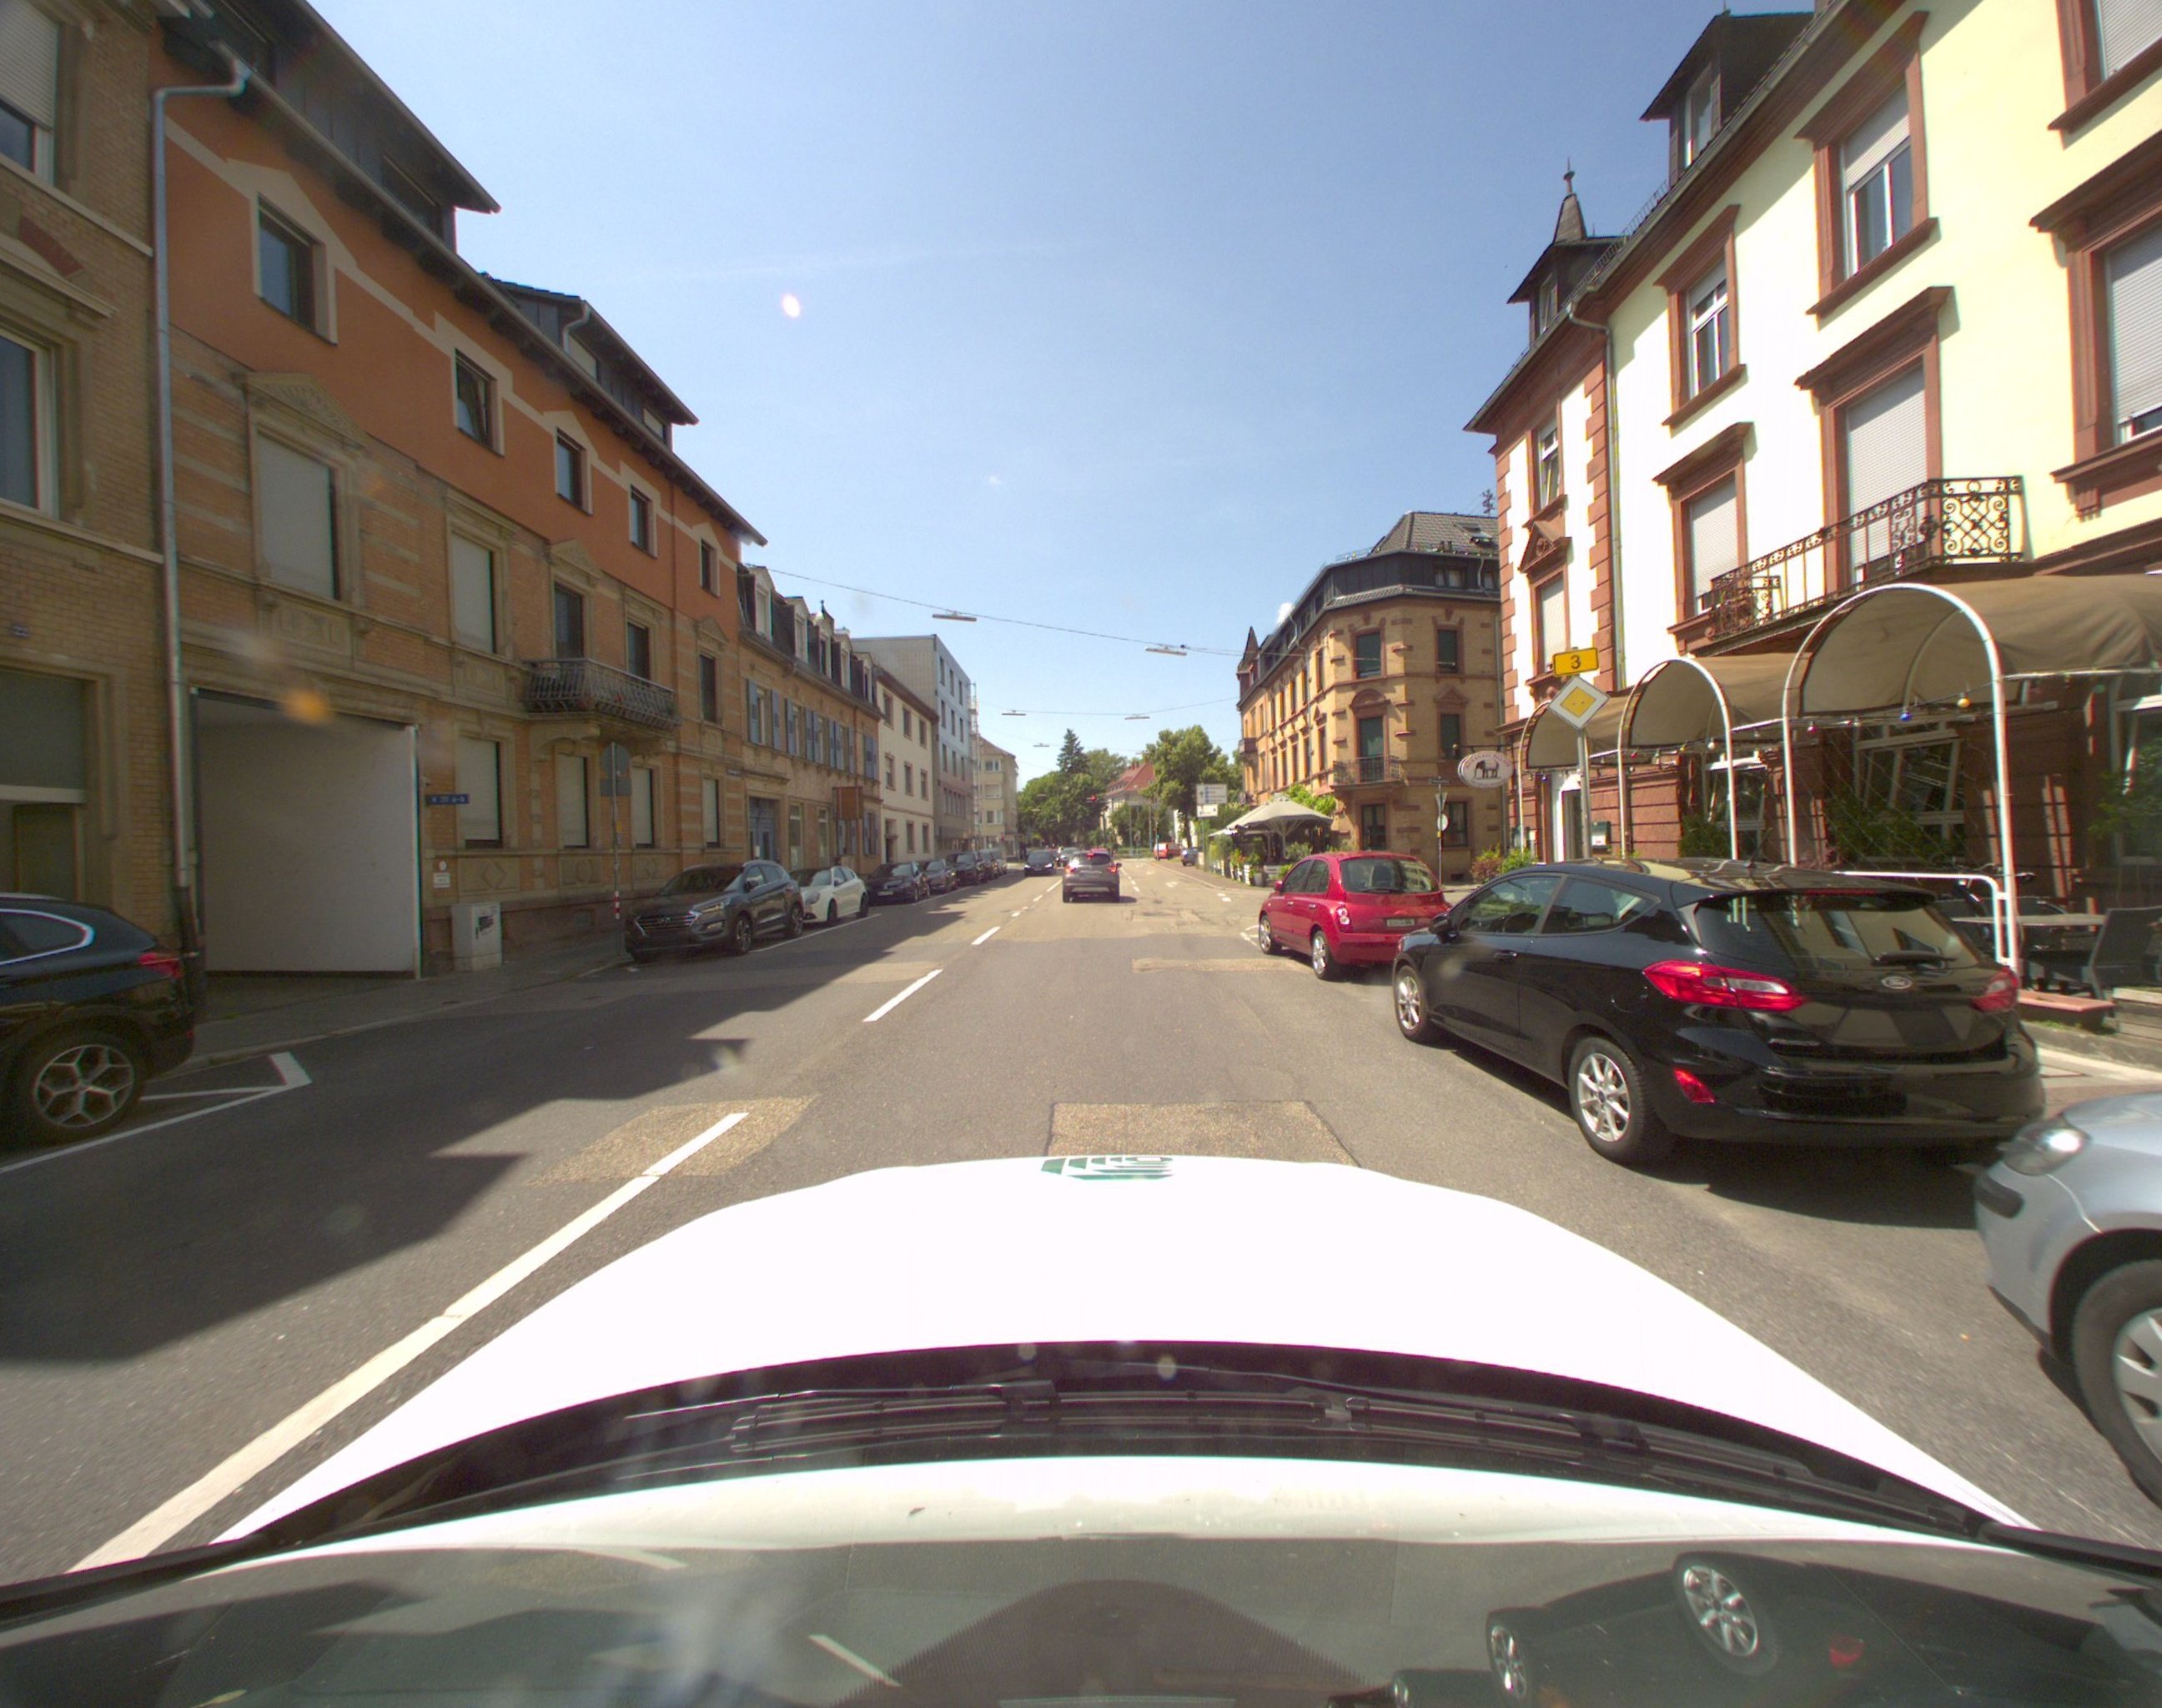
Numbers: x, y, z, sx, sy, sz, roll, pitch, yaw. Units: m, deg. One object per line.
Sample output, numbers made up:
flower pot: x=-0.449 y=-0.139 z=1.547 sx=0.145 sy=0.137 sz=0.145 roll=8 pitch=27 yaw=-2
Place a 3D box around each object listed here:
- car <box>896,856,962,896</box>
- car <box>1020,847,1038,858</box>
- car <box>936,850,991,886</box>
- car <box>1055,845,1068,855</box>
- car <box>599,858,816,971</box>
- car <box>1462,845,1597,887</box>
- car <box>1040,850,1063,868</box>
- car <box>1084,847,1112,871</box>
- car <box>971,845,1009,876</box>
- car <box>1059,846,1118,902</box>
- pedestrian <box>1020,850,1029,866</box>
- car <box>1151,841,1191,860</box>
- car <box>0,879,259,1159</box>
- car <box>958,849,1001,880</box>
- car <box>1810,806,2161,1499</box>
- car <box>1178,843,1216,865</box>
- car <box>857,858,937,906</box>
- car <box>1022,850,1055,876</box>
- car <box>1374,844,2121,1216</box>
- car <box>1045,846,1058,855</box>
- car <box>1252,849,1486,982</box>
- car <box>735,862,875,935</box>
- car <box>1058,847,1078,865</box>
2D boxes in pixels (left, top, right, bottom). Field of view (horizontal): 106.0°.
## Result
car: x=-6.358 y=0.892 z=34.607 sx=1.860 sy=1.406 sz=4.835 roll=-5 pitch=0 yaw=-1
car: x=-7.477 y=-0.272 z=116.679 sx=1.995 sy=1.519 sz=3.983 roll=0 pitch=-1 yaw=-12
car: x=-5.882 y=0.650 z=41.410 sx=1.877 sy=1.641 sz=4.820 roll=-3 pitch=0 yaw=2
car: x=-3.780 y=-0.765 z=157.033 sx=1.994 sy=1.807 sz=3.985 roll=-1 pitch=1 yaw=-11
car: x=-6.737 y=0.979 z=15.338 sx=1.859 sy=1.627 sz=4.500 roll=-5 pitch=0 yaw=0
car: x=16.267 y=0.406 z=29.622 sx=3.987 sy=1.365 sz=1.910 roll=-1 pitch=1 yaw=-10
car: x=-2.502 y=0.405 z=70.406 sx=1.695 sy=1.478 sz=4.135 roll=-2 pitch=0 yaw=2
car: x=1.215 y=0.322 z=56.572 sx=1.792 sy=1.557 sz=4.040 roll=0 pitch=0 yaw=2
car: x=-5.944 y=0.403 z=53.863 sx=1.907 sy=1.825 sz=4.788 roll=-3 pitch=0 yaw=0
car: x=0.295 y=0.562 z=26.089 sx=1.747 sy=1.632 sz=4.002 roll=0 pitch=1 yaw=2
pedestrian: x=-6.822 y=0.456 z=98.616 sx=0.935 sy=1.931 sz=0.973 roll=-1 pitch=0 yaw=-11
car: x=9.929 y=-0.416 z=89.741 sx=1.975 sy=1.977 sz=4.529 roll=-2 pitch=0 yaw=44
car: x=-7.149 y=1.049 z=3.830 sx=1.859 sy=1.551 sz=4.500 roll=-5 pitch=0 yaw=0
car: x=-5.859 y=0.573 z=47.566 sx=1.879 sy=1.641 sz=4.662 roll=-3 pitch=0 yaw=0
car: x=3.249 y=0.682 z=0.694 sx=1.750 sy=1.551 sz=4.069 roll=1 pitch=0 yaw=3
car: x=9.399 y=-0.029 z=65.656 sx=1.818 sy=1.548 sz=5.184 roll=-2 pitch=1 yaw=21
car: x=-6.475 y=0.943 z=29.113 sx=1.860 sy=1.406 sz=4.327 roll=-5 pitch=0 yaw=-2
car: x=-2.579 y=0.505 z=50.811 sx=1.754 sy=1.494 sz=4.245 roll=-2 pitch=0 yaw=0
car: x=3.401 y=0.699 z=5.271 sx=1.750 sy=1.478 sz=3.934 roll=1 pitch=0 yaw=3
car: x=-6.205 y=-0.792 z=170.245 sx=1.994 sy=1.906 sz=3.985 roll=-1 pitch=1 yaw=-11
car: x=3.618 y=0.683 z=11.001 sx=1.752 sy=1.478 sz=3.781 roll=1 pitch=0 yaw=-1
car: x=-6.755 y=1.034 z=20.488 sx=1.858 sy=1.426 sz=4.332 roll=-5 pitch=0 yaw=1
car: x=-1.298 y=0.172 z=80.070 sx=1.695 sy=1.574 sz=4.314 roll=-2 pitch=0 yaw=2
